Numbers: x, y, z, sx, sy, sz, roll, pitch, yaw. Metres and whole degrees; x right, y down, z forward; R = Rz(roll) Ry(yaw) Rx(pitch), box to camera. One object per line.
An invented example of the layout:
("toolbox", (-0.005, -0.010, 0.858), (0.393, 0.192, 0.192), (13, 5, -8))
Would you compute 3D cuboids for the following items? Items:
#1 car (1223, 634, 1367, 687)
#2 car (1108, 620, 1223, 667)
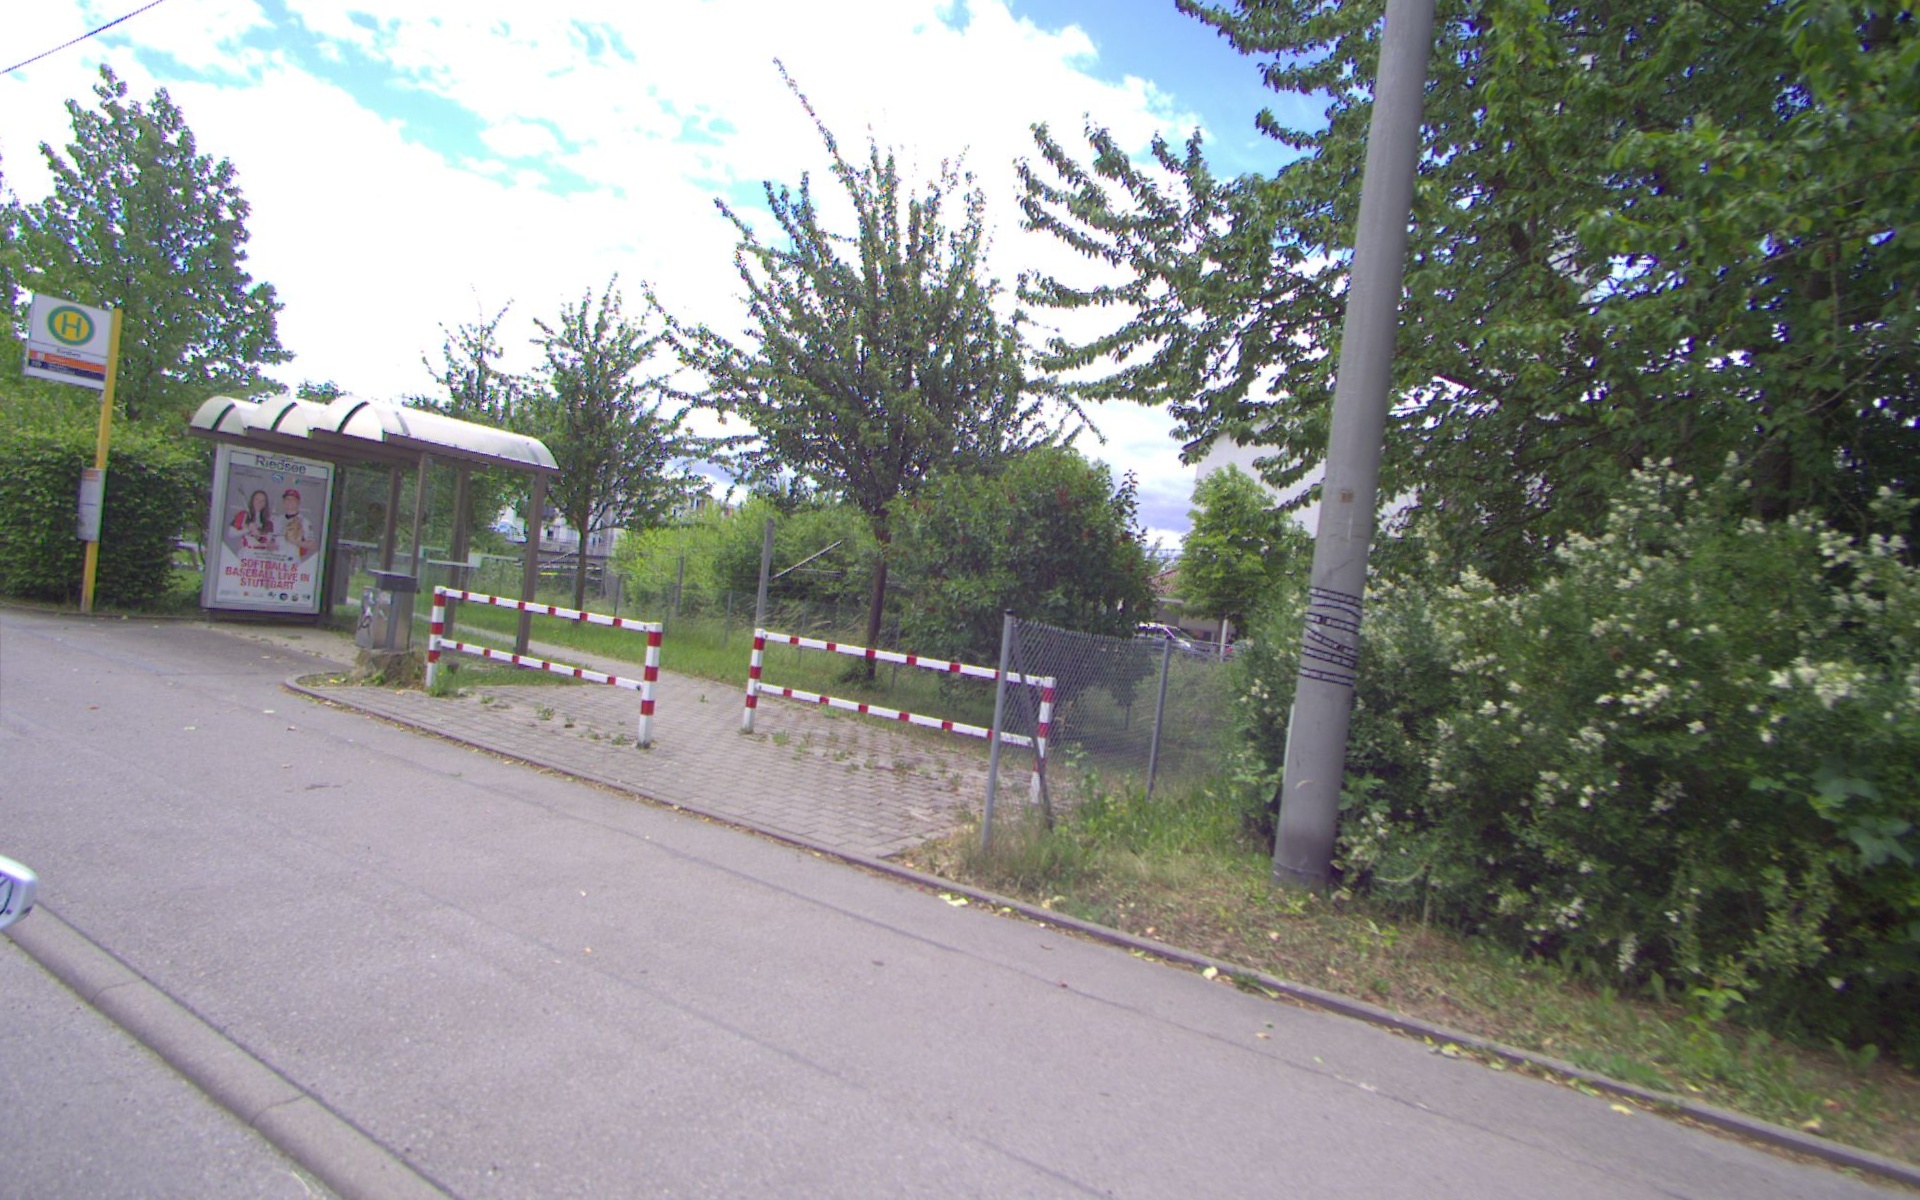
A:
("car", (12.666, 2.281, 38.302), (1.986, 1.349, 4.766), (6, 1, -42))
("car", (8.677, 1.826, 42.749), (1.984, 1.349, 4.427), (6, 1, -40))
